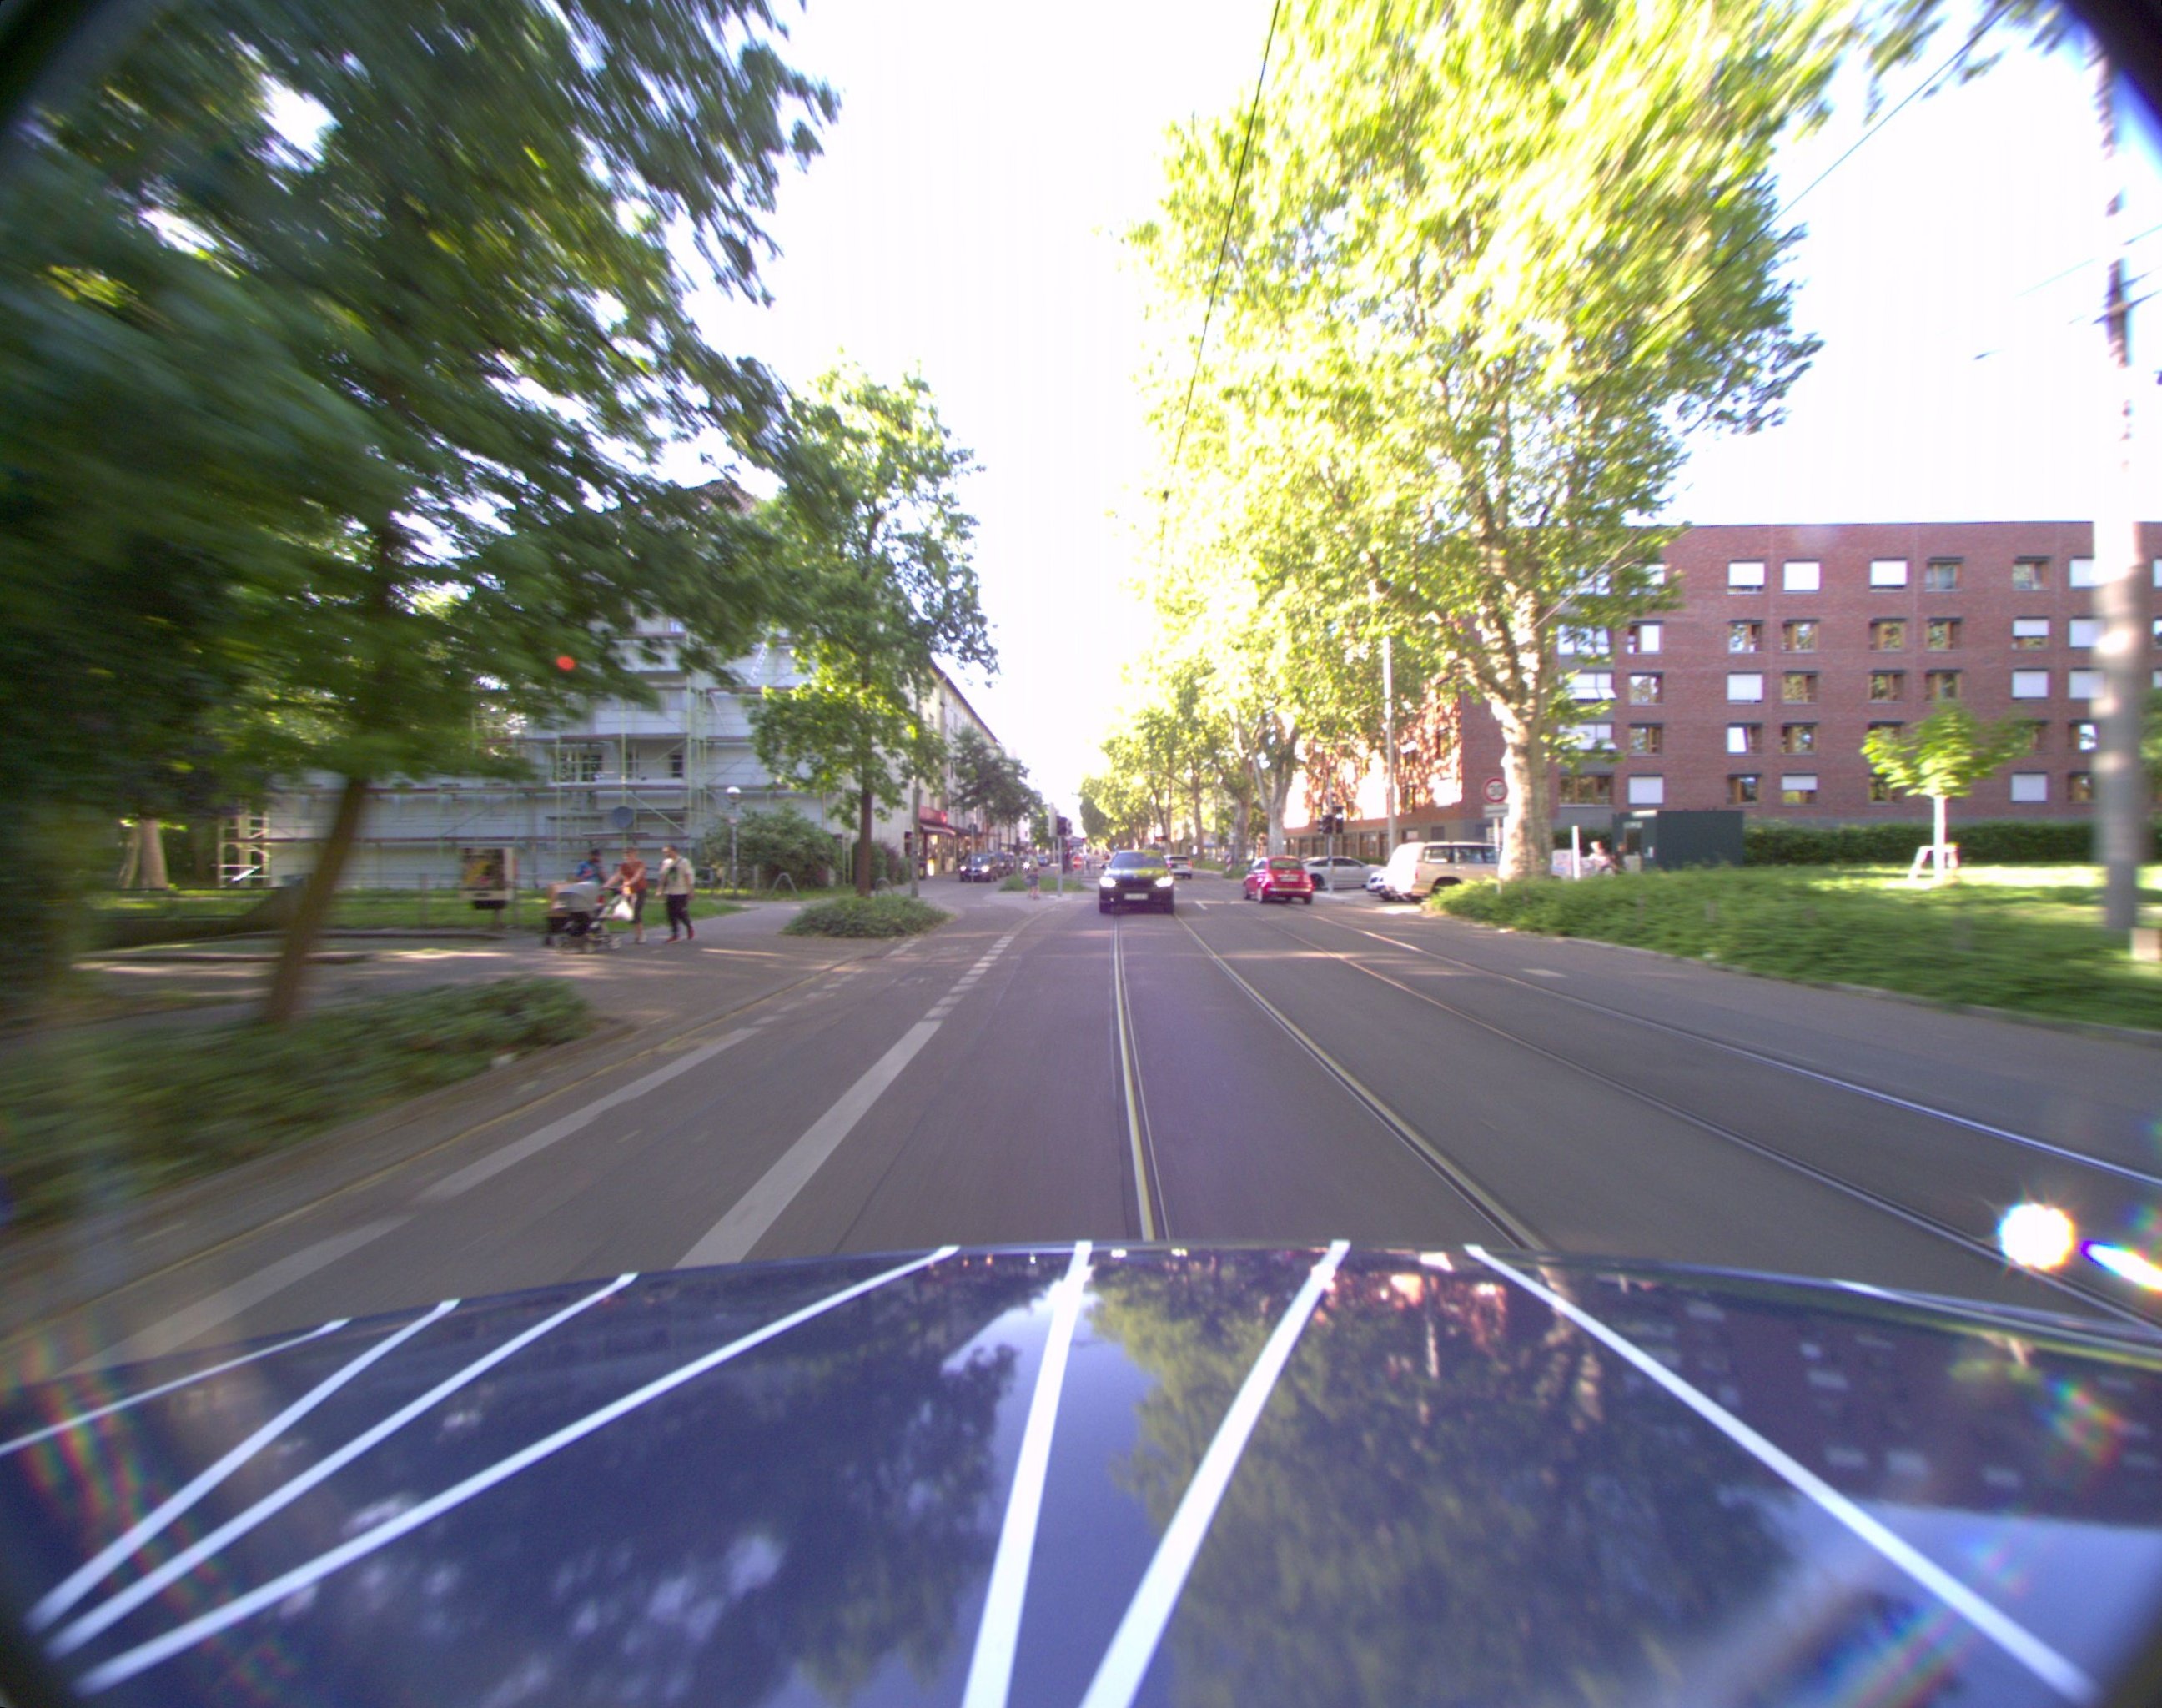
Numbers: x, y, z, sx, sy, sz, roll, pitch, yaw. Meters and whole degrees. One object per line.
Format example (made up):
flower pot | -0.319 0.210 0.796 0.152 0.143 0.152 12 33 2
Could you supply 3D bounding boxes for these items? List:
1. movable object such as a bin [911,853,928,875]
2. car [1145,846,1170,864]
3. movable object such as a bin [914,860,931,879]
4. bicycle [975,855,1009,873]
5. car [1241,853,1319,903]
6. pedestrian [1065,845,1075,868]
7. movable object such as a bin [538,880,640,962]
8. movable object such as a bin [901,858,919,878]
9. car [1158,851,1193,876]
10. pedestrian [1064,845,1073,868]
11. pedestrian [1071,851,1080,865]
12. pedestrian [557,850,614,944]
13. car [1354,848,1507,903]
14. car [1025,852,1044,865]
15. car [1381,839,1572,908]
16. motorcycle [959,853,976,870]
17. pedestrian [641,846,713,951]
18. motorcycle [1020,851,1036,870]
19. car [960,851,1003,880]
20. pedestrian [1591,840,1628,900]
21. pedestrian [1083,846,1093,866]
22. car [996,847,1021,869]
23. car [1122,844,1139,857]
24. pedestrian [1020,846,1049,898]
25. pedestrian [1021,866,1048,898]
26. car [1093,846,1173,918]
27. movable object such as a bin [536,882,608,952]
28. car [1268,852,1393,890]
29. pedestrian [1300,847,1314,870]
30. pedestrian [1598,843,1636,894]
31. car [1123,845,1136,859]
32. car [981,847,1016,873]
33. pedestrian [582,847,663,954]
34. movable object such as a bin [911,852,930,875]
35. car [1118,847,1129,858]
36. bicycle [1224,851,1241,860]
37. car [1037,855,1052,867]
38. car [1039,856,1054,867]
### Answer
movable object such as a bin | -9.979 0.590 46.978 0.926 1.342 0.824 1 1 -2
car | 6.382 0.063 63.766 1.780 1.452 4.204 -1 1 1
movable object such as a bin | -9.131 0.893 43.781 0.883 1.104 0.697 1 1 -2
bicycle | -6.131 0.688 52.492 2.209 1.203 1.029 1 1 1
car | 6.412 0.739 24.830 1.665 1.435 3.473 -1 1 1
pedestrian | -0.863 0.200 59.847 0.690 1.745 0.580 -2 1 -6
movable object such as a bin | -7.919 1.048 12.283 0.640 1.195 1.306 1 1 11
movable object such as a bin | -9.759 0.797 43.298 0.883 1.104 0.697 1 1 -2
car | 6.151 0.586 49.742 1.820 1.559 4.116 1 1 1
pedestrian | -1.006 0.196 60.553 0.493 1.760 0.704 -1 1 15
pedestrian | -0.520 0.404 72.451 0.721 1.318 0.493 -2 1 -10
pedestrian | -9.279 0.783 14.242 0.619 1.716 0.554 -1 1 4
car | 11.379 0.672 24.929 4.150 1.637 1.902 -1 1 -1
car | -5.869 0.556 96.519 1.958 1.474 4.660 -2 1 3
car | 11.436 0.543 22.194 4.582 1.823 1.938 -1 1 -1
motorcycle | -9.475 0.630 63.360 0.954 1.309 2.650 5 -1 -1
pedestrian | -7.152 0.762 13.490 0.727 1.783 0.854 1 1 11
motorcycle | -4.209 0.522 60.412 1.054 1.446 2.208 -1 1 1
car | -5.767 0.637 44.601 1.766 1.612 4.442 1 0 2
pedestrian | 16.377 0.487 23.574 0.645 1.799 0.752 -1 1 6
pedestrian | 0.625 0.192 65.764 0.836 1.703 0.640 -1 1 2
car | -6.082 0.312 63.792 1.693 1.745 4.173 -1 1 -1
car | 6.710 -0.452 103.110 1.998 1.706 5.142 -1 1 0
pedestrian | -1.757 0.654 28.577 0.870 1.874 0.996 -2 1 -14
pedestrian | -1.654 1.005 27.182 0.658 1.112 0.677 -1 1 30
car | 1.601 0.687 21.629 1.936 1.719 5.075 -2 1 7
movable object such as a bin | -8.982 1.094 13.447 0.667 1.120 0.956 -2 1 -7
car | 10.793 0.724 33.111 4.776 1.452 1.954 -1 1 -1
pedestrian | 17.717 0.367 59.639 0.765 1.734 0.972 -1 1 1
pedestrian | 17.983 0.466 25.489 0.711 1.663 0.779 -1 1 0
car | 10.324 -0.465 162.482 2.429 2.833 5.072 -2 1 0
car | -6.185 0.443 57.267 1.998 1.885 4.194 1 0 2
pedestrian | -7.960 0.772 13.229 0.727 1.783 0.968 1 1 11
movable object such as a bin | -9.714 0.577 45.941 1.002 1.389 0.824 1 1 -2
car | 10.073 -0.377 180.466 2.142 2.275 4.964 -2 1 0
bicycle | 20.298 0.204 101.858 2.098 1.182 0.882 -1 1 17
car | -5.130 0.982 107.991 1.899 1.477 3.999 -1 1 1
car | -5.172 1.132 114.189 1.998 1.572 3.999 -1 1 1
